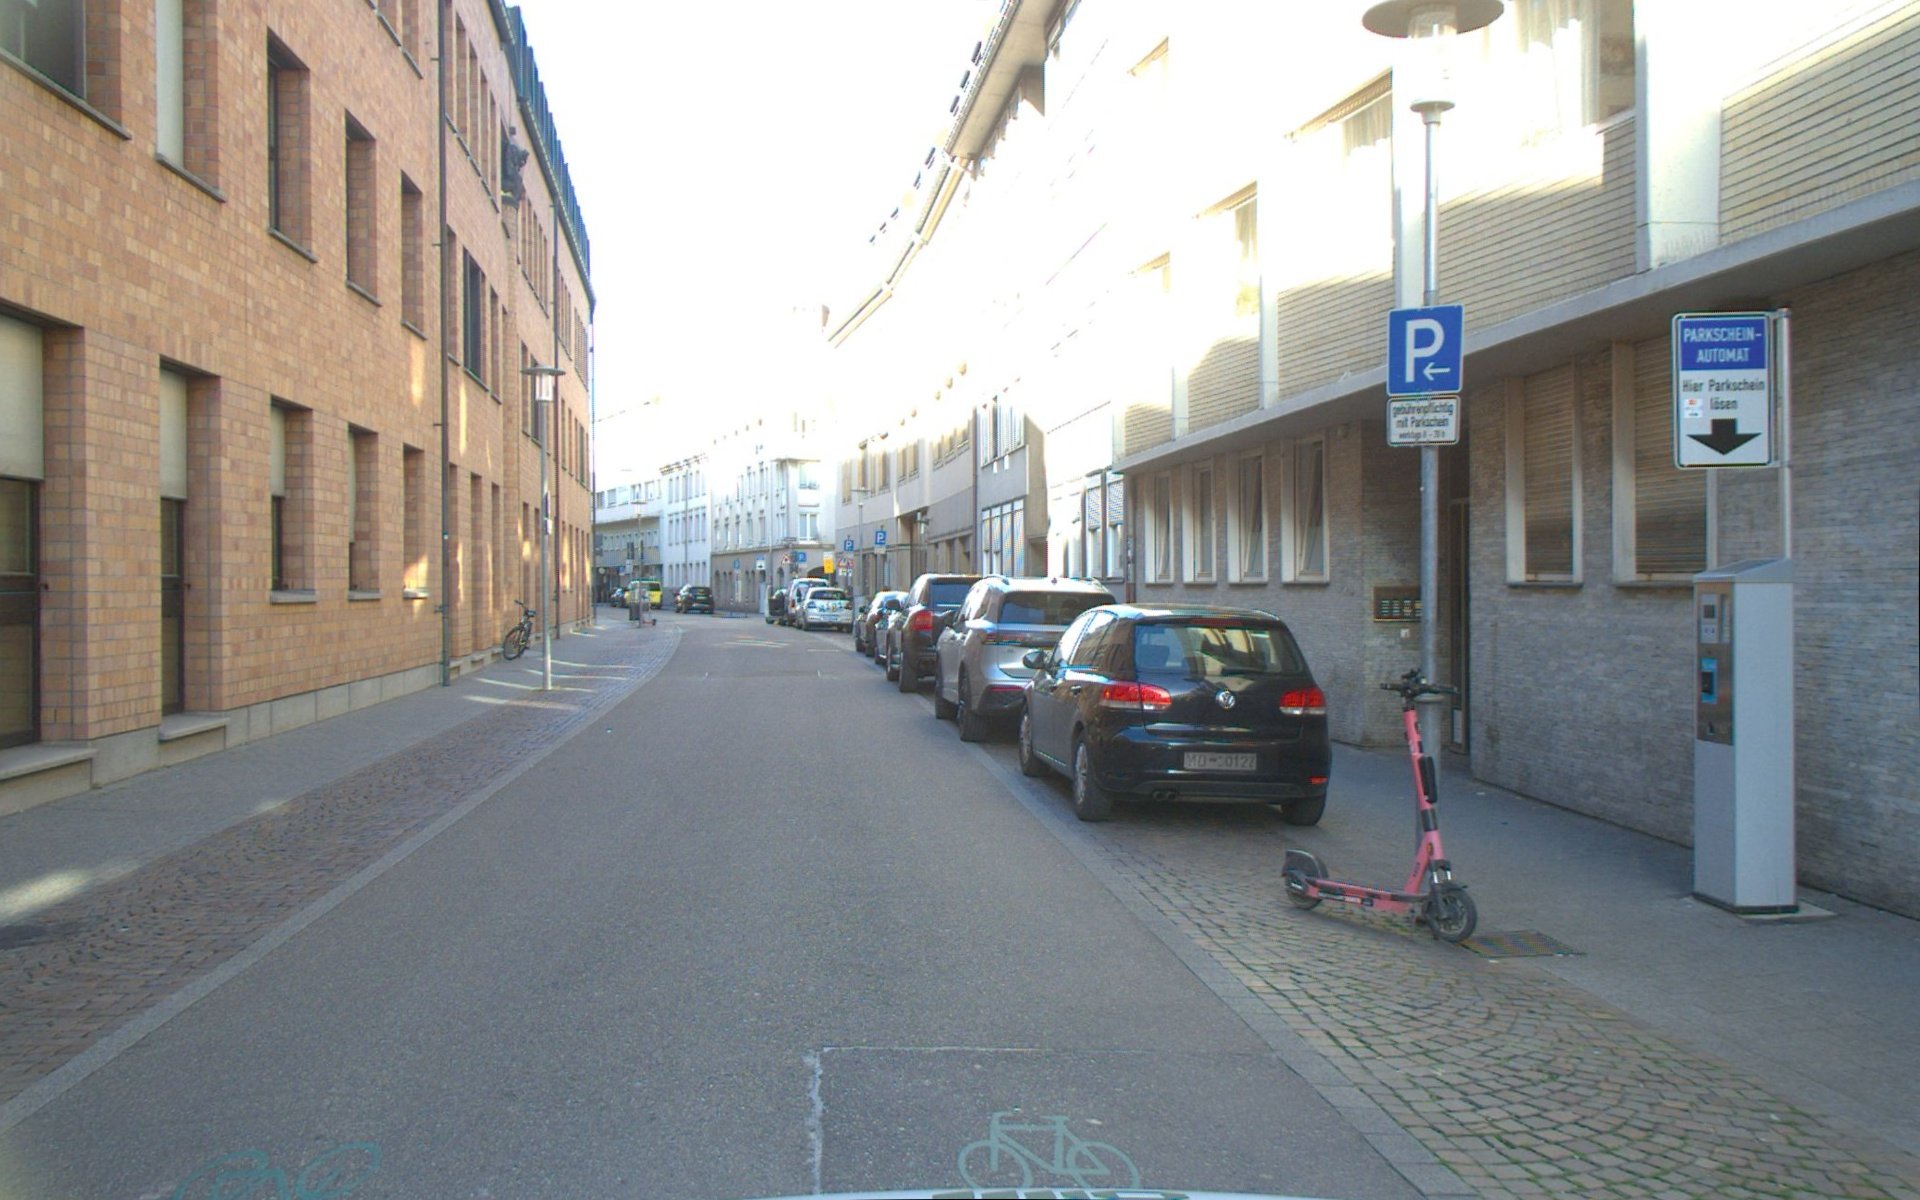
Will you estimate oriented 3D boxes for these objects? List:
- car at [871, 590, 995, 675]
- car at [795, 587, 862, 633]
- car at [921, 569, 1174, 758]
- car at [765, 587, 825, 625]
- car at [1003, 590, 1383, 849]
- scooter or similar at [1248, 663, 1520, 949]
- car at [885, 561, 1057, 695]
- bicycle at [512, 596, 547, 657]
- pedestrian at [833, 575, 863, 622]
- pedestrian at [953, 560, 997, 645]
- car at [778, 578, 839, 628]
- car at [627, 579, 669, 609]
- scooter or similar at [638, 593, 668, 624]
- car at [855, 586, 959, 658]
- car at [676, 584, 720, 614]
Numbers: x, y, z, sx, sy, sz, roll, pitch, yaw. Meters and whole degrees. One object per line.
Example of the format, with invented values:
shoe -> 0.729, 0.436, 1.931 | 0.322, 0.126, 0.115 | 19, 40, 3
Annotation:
car -> -0.598, 0.563, 31.592 | 1.773, 1.437, 4.781 | 2, 0, -8
car -> -4.672, 0.323, 58.374 | 1.808, 1.504, 4.156 | 2, 0, -12
car -> 0.780, 0.583, 18.092 | 1.955, 1.731, 4.837 | 2, 0, -6
car -> -7.049, 0.246, 70.359 | 1.858, 1.545, 4.045 | 1, 0, -16
car -> 1.544, 0.749, 12.737 | 1.788, 1.531, 4.594 | 3, 0, -6
scooter or similar -> 2.039, 0.948, 8.076 | 0.488, 1.215, 1.291 | 0, 0, -34
car -> 0.046, 0.366, 25.450 | 2.063, 1.817, 5.045 | 1, 0, -6
bicycle -> -8.996, 0.544, 34.543 | 0.621, 1.183, 1.796 | 3, 0, -16
pedestrian -> -4.386, -0.048, 64.743 | 1.023, 1.833, 1.195 | 0, 0, -12
pedestrian -> 0.316, 0.040, 35.142 | 0.773, 1.751, 0.745 | -2, 1, -7
car -> -5.939, 0.103, 64.534 | 1.798, 1.822, 5.199 | 1, 0, -11
car -> -21.649, -0.424, 114.548 | 2.025, 2.049, 4.144 | 0, 1, -24
scooter or similar -> -12.524, 0.352, 67.457 | 0.683, 1.238, 1.358 | -1, 0, 16
car -> -1.283, 0.452, 37.579 | 1.858, 1.478, 5.217 | 1, 0, -7
car -> -15.705, -0.063, 99.113 | 1.938, 1.721, 4.079 | 1, 0, -19
